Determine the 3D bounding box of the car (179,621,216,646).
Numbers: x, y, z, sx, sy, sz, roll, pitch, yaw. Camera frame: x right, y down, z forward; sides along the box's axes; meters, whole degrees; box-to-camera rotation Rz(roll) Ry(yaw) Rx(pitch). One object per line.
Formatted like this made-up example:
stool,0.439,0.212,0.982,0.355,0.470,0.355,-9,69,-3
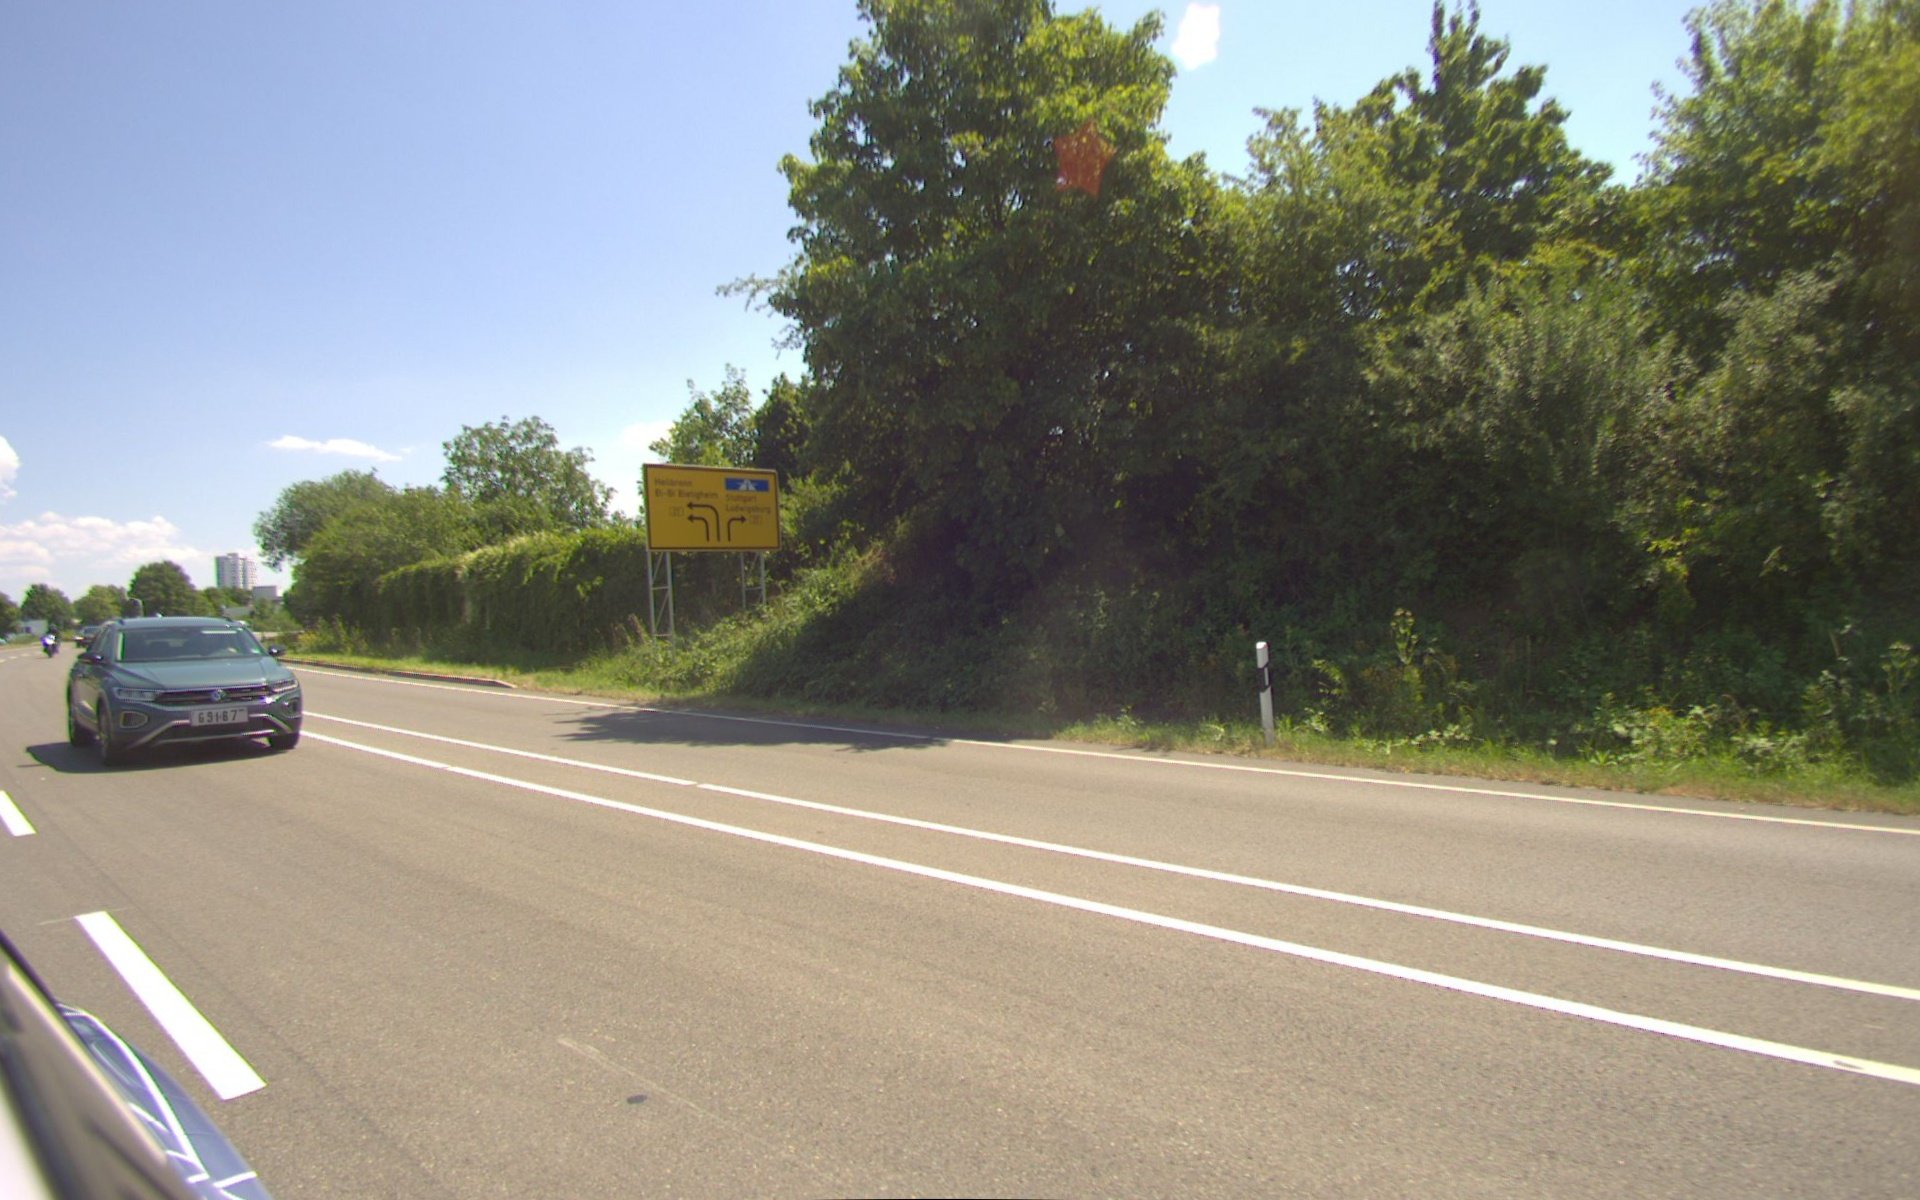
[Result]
car,-51.720,2.250,68.668,1.967,1.641,4.206,-1,-1,-37

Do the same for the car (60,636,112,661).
car,-62.452,3.428,72.362,2.083,1.603,4.463,-1,0,-32

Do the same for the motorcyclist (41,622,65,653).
motorcyclist,-44.733,1.866,49.904,0.848,1.500,1.163,1,-2,-44

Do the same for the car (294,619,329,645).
car,-69.776,3.405,108.951,2.157,2.560,6.057,-2,0,-24

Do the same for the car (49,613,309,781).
car,-9.415,1.010,12.051,4.392,1.598,1.814,-2,-1,44

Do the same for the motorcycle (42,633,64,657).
motorcycle,-44.786,2.201,49.979,0.723,1.147,2.074,1,-3,-44
